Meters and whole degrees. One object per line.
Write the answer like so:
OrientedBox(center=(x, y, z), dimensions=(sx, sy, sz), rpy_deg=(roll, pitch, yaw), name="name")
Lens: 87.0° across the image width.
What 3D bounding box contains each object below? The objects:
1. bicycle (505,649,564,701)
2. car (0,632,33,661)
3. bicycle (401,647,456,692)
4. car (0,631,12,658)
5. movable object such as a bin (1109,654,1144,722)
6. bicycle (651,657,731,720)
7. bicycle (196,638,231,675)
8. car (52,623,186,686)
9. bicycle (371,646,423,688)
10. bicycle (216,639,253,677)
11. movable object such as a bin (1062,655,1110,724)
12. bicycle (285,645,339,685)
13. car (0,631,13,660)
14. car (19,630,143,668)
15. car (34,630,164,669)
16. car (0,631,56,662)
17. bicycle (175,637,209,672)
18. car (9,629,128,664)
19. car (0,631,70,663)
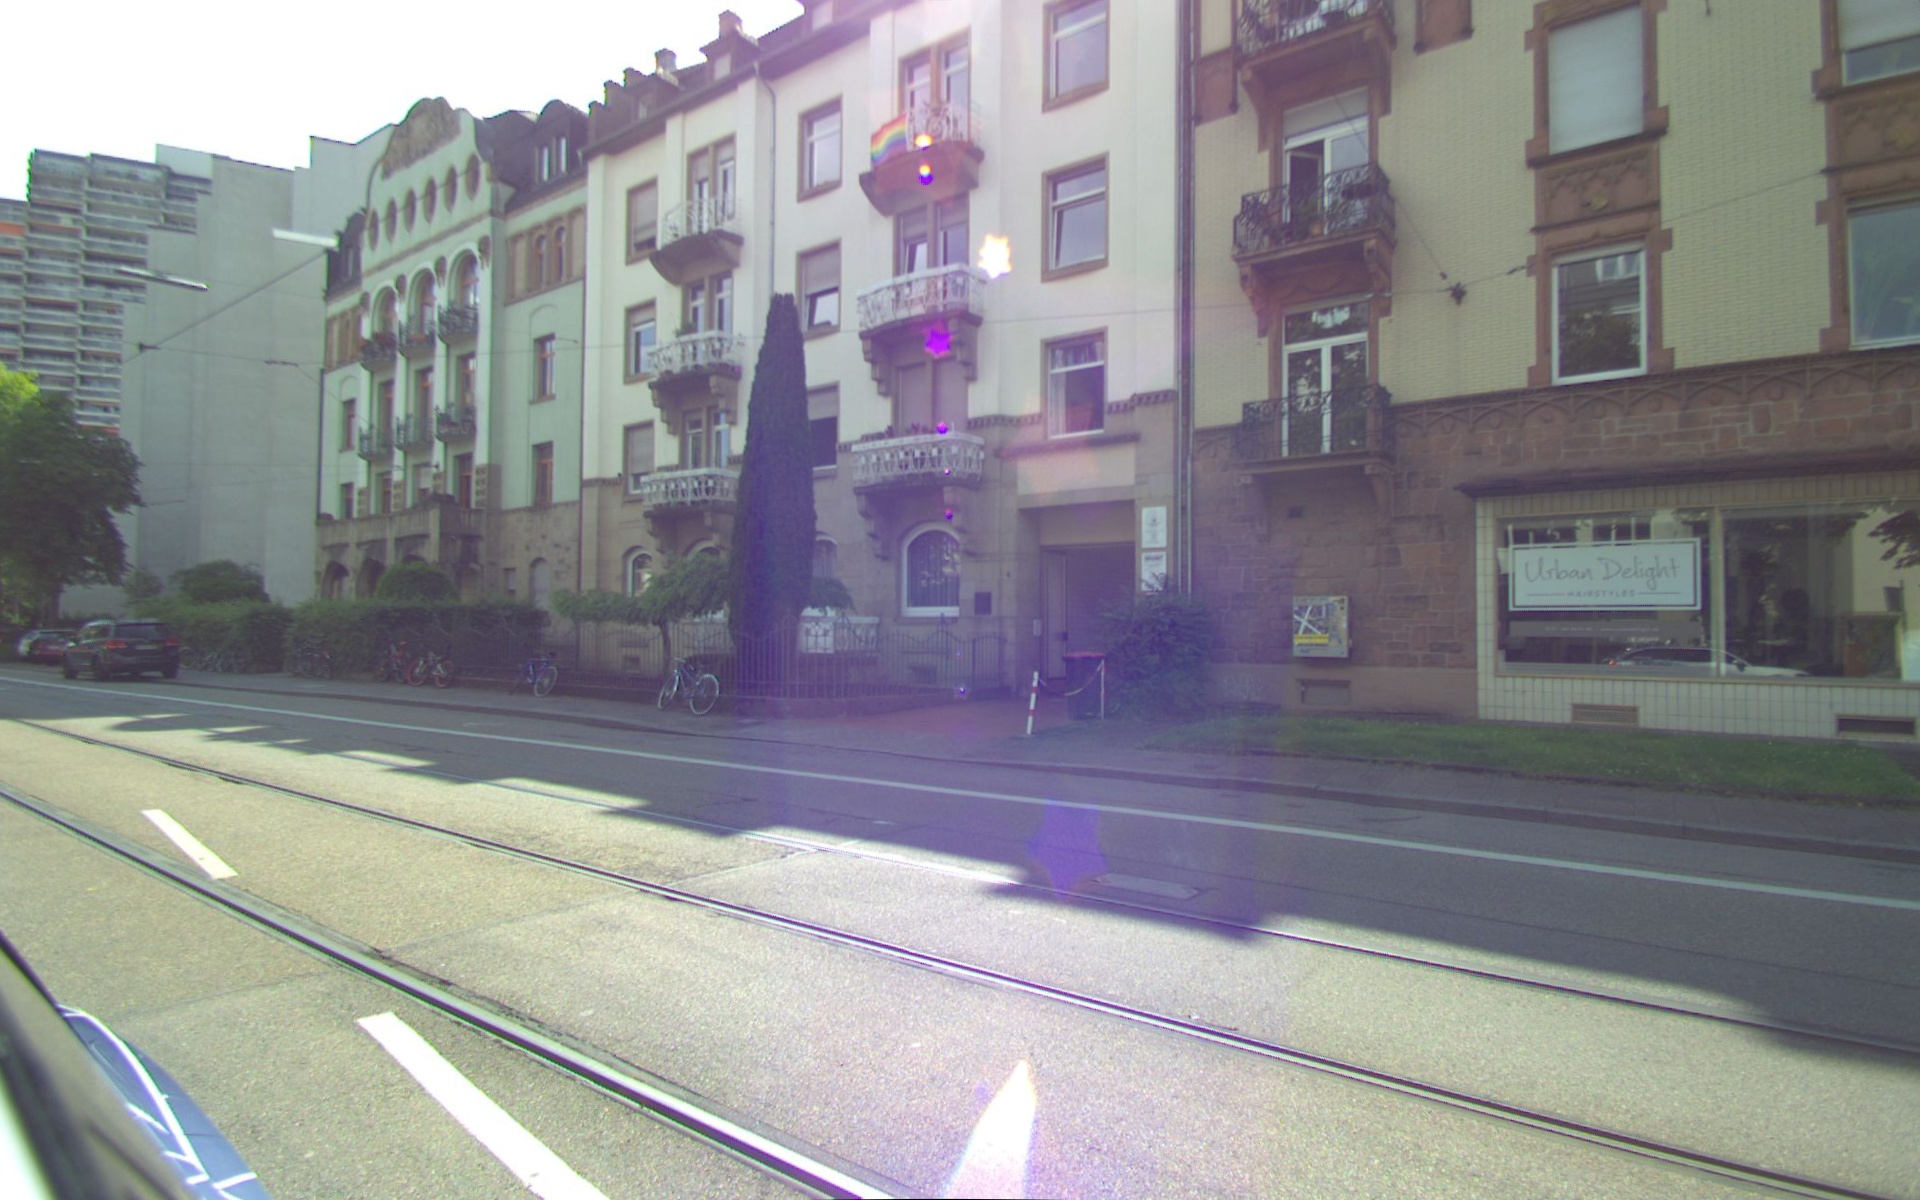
OrientedBox(center=(-8.807, 1.532, 20.926), dimensions=(1.788, 1.003, 0.461), rpy_deg=(-2, -3, 45), name="bicycle")
OrientedBox(center=(-50.984, 2.417, 52.672), dimensions=(3.939, 1.519, 2.002), rpy_deg=(2, -3, -43), name="car")
OrientedBox(center=(-12.410, 1.597, 23.599), dimensions=(1.785, 1.003, 0.462), rpy_deg=(-1, -3, 39), name="bicycle")
OrientedBox(center=(-55.891, 2.509, 56.725), dimensions=(3.939, 1.519, 2.002), rpy_deg=(2, -3, -43), name="car")
OrientedBox(center=(2.620, 1.368, 15.915), dimensions=(0.531, 1.037, 0.475), rpy_deg=(0, -2, 10), name="movable object such as a bin")
OrientedBox(center=(-4.714, 1.510, 17.650), dimensions=(0.461, 1.003, 1.980), rpy_deg=(2, -3, -43), name="bicycle")
OrientedBox(center=(-24.249, 1.828, 32.859), dimensions=(1.785, 1.144, 0.462), rpy_deg=(-1, -3, 39), name="bicycle")
OrientedBox(center=(-24.436, 1.541, 29.379), dimensions=(4.392, 1.708, 1.899), rpy_deg=(-1, -2, 35), name="car")
OrientedBox(center=(-13.834, 1.629, 24.853), dimensions=(1.785, 1.003, 0.462), rpy_deg=(-1, -3, 39), name="bicycle")
OrientedBox(center=(-22.716, 1.814, 31.668), dimensions=(1.785, 1.144, 0.462), rpy_deg=(-1, -3, 39), name="bicycle")
OrientedBox(center=(1.984, 1.393, 15.885), dimensions=(0.698, 1.037, 0.475), rpy_deg=(0, -2, 13), name="movable object such as a bin")
OrientedBox(center=(-17.322, 1.722, 27.041), dimensions=(1.979, 1.003, 0.597), rpy_deg=(-1, -3, 39), name="bicycle")
OrientedBox(center=(-53.687, 2.439, 54.436), dimensions=(3.939, 1.519, 2.002), rpy_deg=(2, -3, -43), name="car")
OrientedBox(center=(-37.870, 2.095, 43.653), dimensions=(3.939, 1.519, 2.002), rpy_deg=(2, -3, -43), name="car")
OrientedBox(center=(-35.172, 2.019, 41.416), dimensions=(3.939, 1.519, 2.002), rpy_deg=(2, -3, -43), name="car")
OrientedBox(center=(-48.291, 2.336, 51.040), dimensions=(3.939, 1.519, 2.002), rpy_deg=(2, -3, -43), name="car")
OrientedBox(center=(-25.911, 1.820, 34.138), dimensions=(1.785, 1.144, 0.462), rpy_deg=(-1, -3, 39), name="bicycle")
OrientedBox(center=(-40.491, 2.085, 46.049), dimensions=(3.939, 1.519, 2.002), rpy_deg=(2, -3, -43), name="car")
OrientedBox(center=(-45.823, 2.265, 49.078), dimensions=(3.939, 1.519, 2.002), rpy_deg=(2, -3, -43), name="car")
